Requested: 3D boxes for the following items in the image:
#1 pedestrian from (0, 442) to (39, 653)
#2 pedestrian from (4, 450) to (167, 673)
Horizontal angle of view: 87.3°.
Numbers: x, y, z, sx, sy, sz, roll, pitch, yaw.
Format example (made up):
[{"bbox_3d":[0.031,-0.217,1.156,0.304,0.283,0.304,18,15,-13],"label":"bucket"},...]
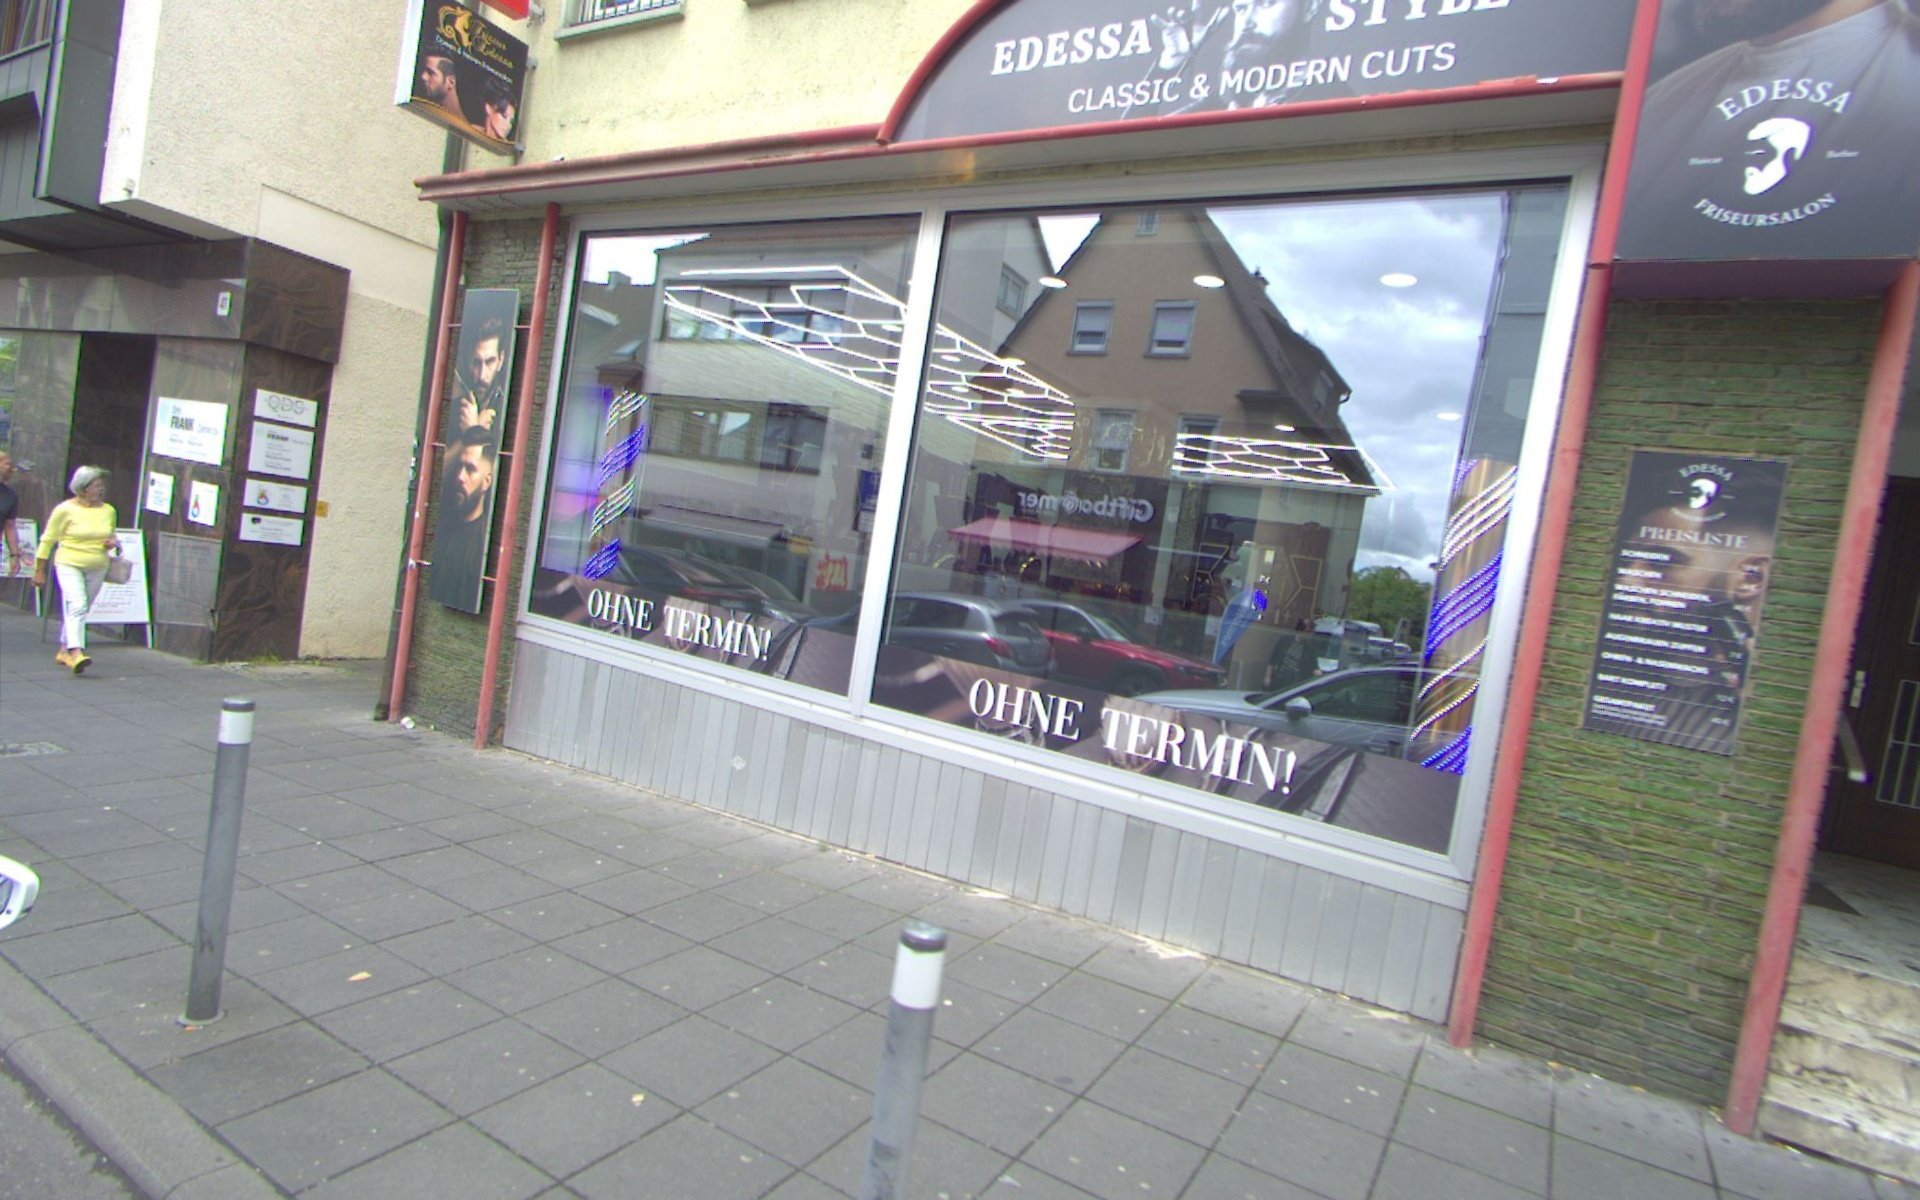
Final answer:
[{"bbox_3d":[-8.479,-0.483,8.554,0.772,1.777,0.711,7,3,31],"label":"pedestrian"},{"bbox_3d":[-6.979,-0.303,8.034,0.821,1.653,0.711,7,3,31],"label":"pedestrian"}]
